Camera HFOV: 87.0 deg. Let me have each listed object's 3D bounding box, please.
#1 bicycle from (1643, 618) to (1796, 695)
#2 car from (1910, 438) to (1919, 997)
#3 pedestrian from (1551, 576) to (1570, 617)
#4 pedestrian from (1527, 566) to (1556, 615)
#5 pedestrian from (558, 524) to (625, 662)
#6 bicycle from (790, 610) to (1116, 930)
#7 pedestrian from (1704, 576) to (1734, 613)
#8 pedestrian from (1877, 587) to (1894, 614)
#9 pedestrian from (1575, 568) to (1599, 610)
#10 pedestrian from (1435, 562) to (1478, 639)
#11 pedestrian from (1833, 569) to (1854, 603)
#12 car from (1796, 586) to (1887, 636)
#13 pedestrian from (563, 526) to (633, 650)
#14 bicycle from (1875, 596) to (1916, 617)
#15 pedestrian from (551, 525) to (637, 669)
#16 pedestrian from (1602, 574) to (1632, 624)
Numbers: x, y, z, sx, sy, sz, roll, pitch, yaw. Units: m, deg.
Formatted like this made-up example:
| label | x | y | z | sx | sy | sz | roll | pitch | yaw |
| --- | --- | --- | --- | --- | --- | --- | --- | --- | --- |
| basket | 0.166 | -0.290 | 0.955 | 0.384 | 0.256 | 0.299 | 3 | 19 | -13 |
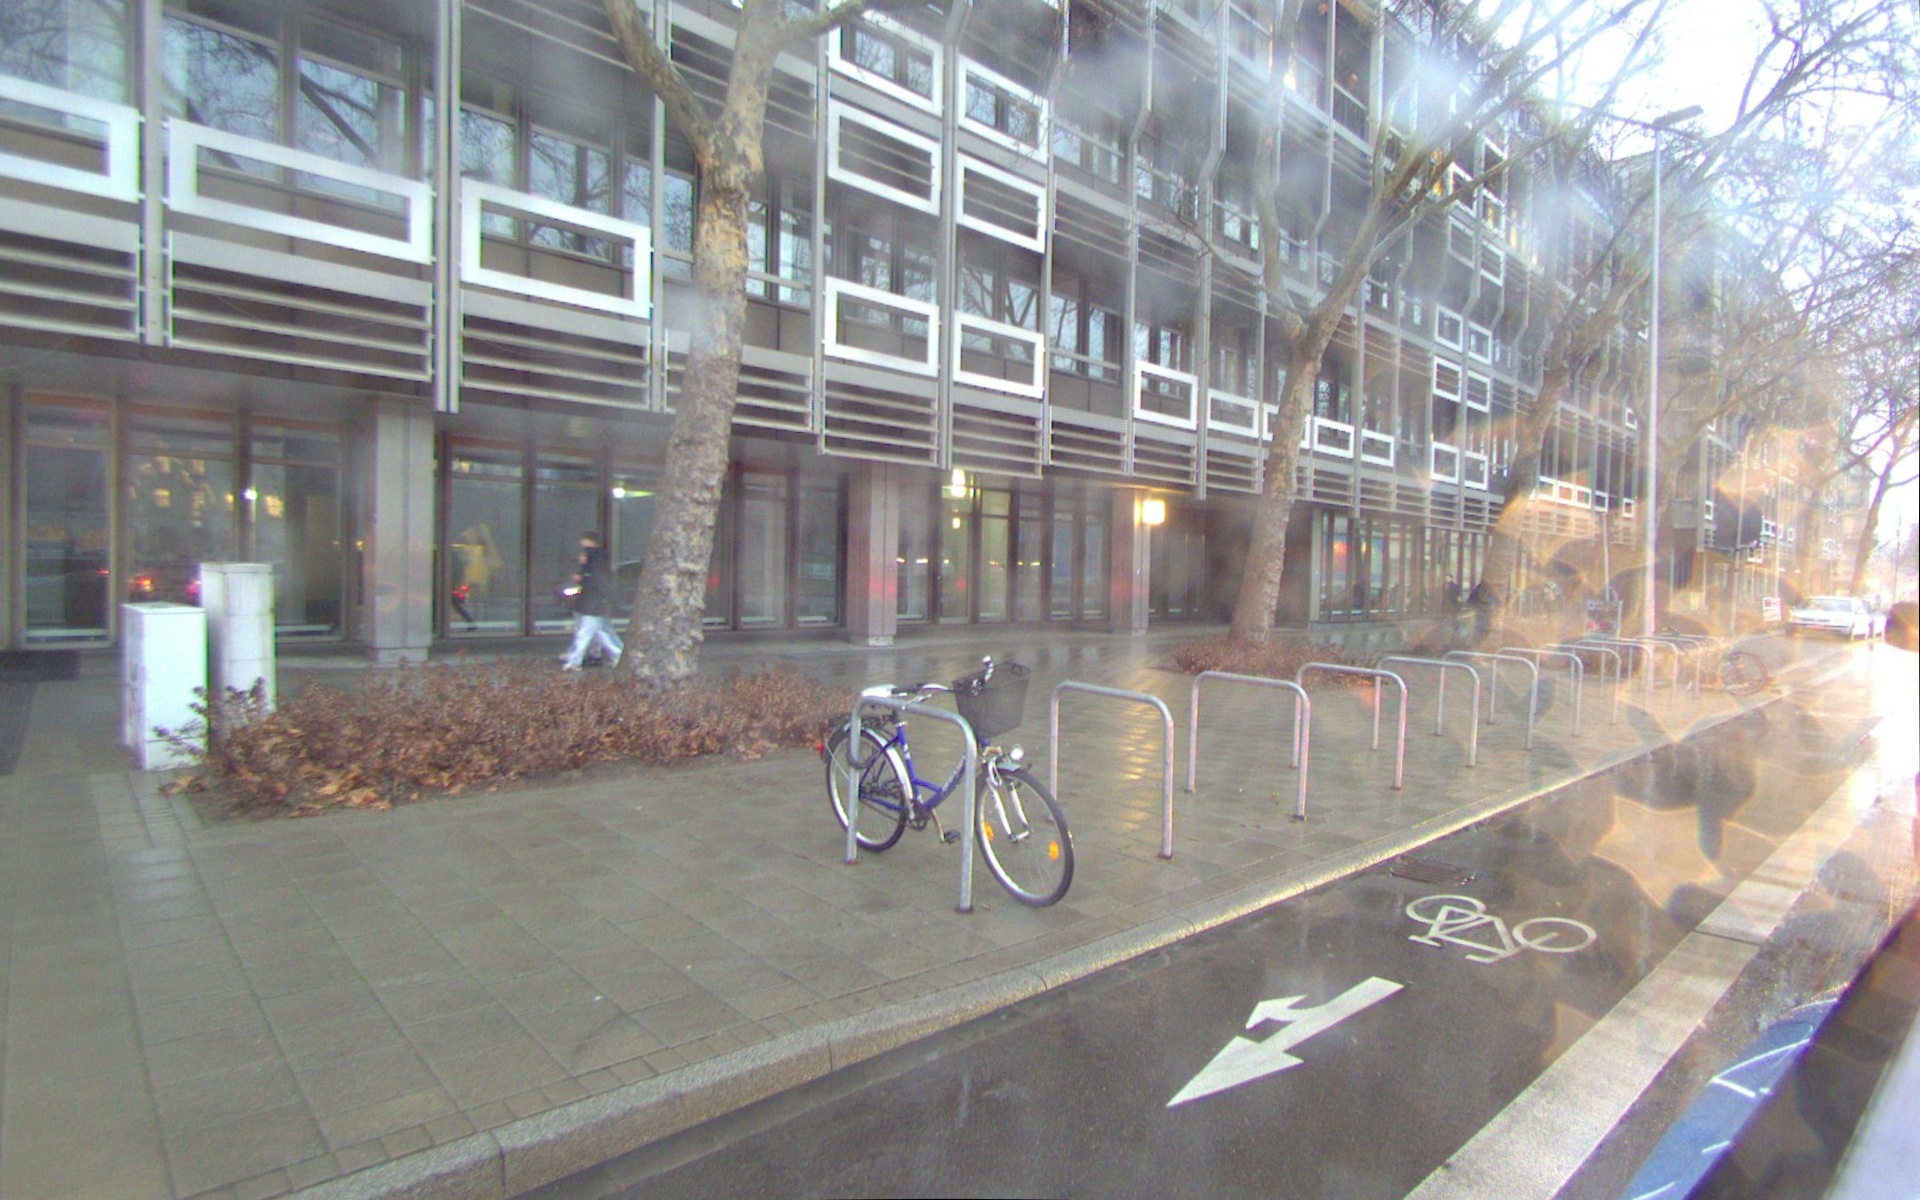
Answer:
| label | x | y | z | sx | sy | sz | roll | pitch | yaw |
| --- | --- | --- | --- | --- | --- | --- | --- | --- | --- |
| bicycle | 11.654 | 0.838 | 15.572 | 0.607 | 0.986 | 1.789 | 0 | 3 | -45 |
| car | 5.567 | 0.426 | 4.286 | 3.930 | 2.039 | 1.857 | 0 | 1 | -41 |
| pedestrian | 20.456 | -0.121 | 34.461 | 0.491 | 1.386 | 0.496 | 2 | 1 | 33 |
| pedestrian | 20.218 | -0.324 | 35.205 | 0.767 | 1.677 | 0.617 | 0 | 1 | -41 |
| pedestrian | -4.649 | -0.088 | 12.765 | 0.701 | 1.689 | 0.379 | 0 | 1 | -41 |
| bicycle | -0.112 | 0.695 | 4.844 | 0.428 | 1.162 | 1.752 | 0 | 4 | -44 |
| pedestrian | 32.424 | -0.226 | 43.214 | 0.824 | 1.543 | 0.865 | 0 | 2 | -44 |
| pedestrian | 70.501 | 0.054 | 77.092 | 0.758 | 2.039 | 0.837 | -1 | 0 | -42 |
| pedestrian | 25.850 | -0.463 | 41.722 | 0.640 | 1.675 | 0.829 | 2 | 2 | 44 |
| pedestrian | 13.507 | 0.003 | 27.524 | 0.723 | 2.039 | 0.821 | 0 | 1 | -43 |
| pedestrian | 53.255 | -0.831 | 61.011 | 1.007 | 2.039 | 0.790 | 0 | 1 | -41 |
| car | 29.427 | 0.324 | 33.758 | 3.859 | 1.449 | 1.609 | 0 | 4 | -39 |
| pedestrian | -4.788 | -0.163 | 13.396 | 0.733 | 1.583 | 0.484 | 0 | 1 | -42 |
| bicycle | 46.989 | 0.330 | 50.859 | 1.518 | 1.049 | 0.462 | 0 | 1 | 42 |
| pedestrian | -4.439 | -0.044 | 12.287 | 0.858 | 1.689 | 0.501 | 0 | 2 | -41 |
| pedestrian | 21.160 | -0.031 | 32.586 | 0.604 | 1.563 | 0.649 | 0 | 1 | -42 |
